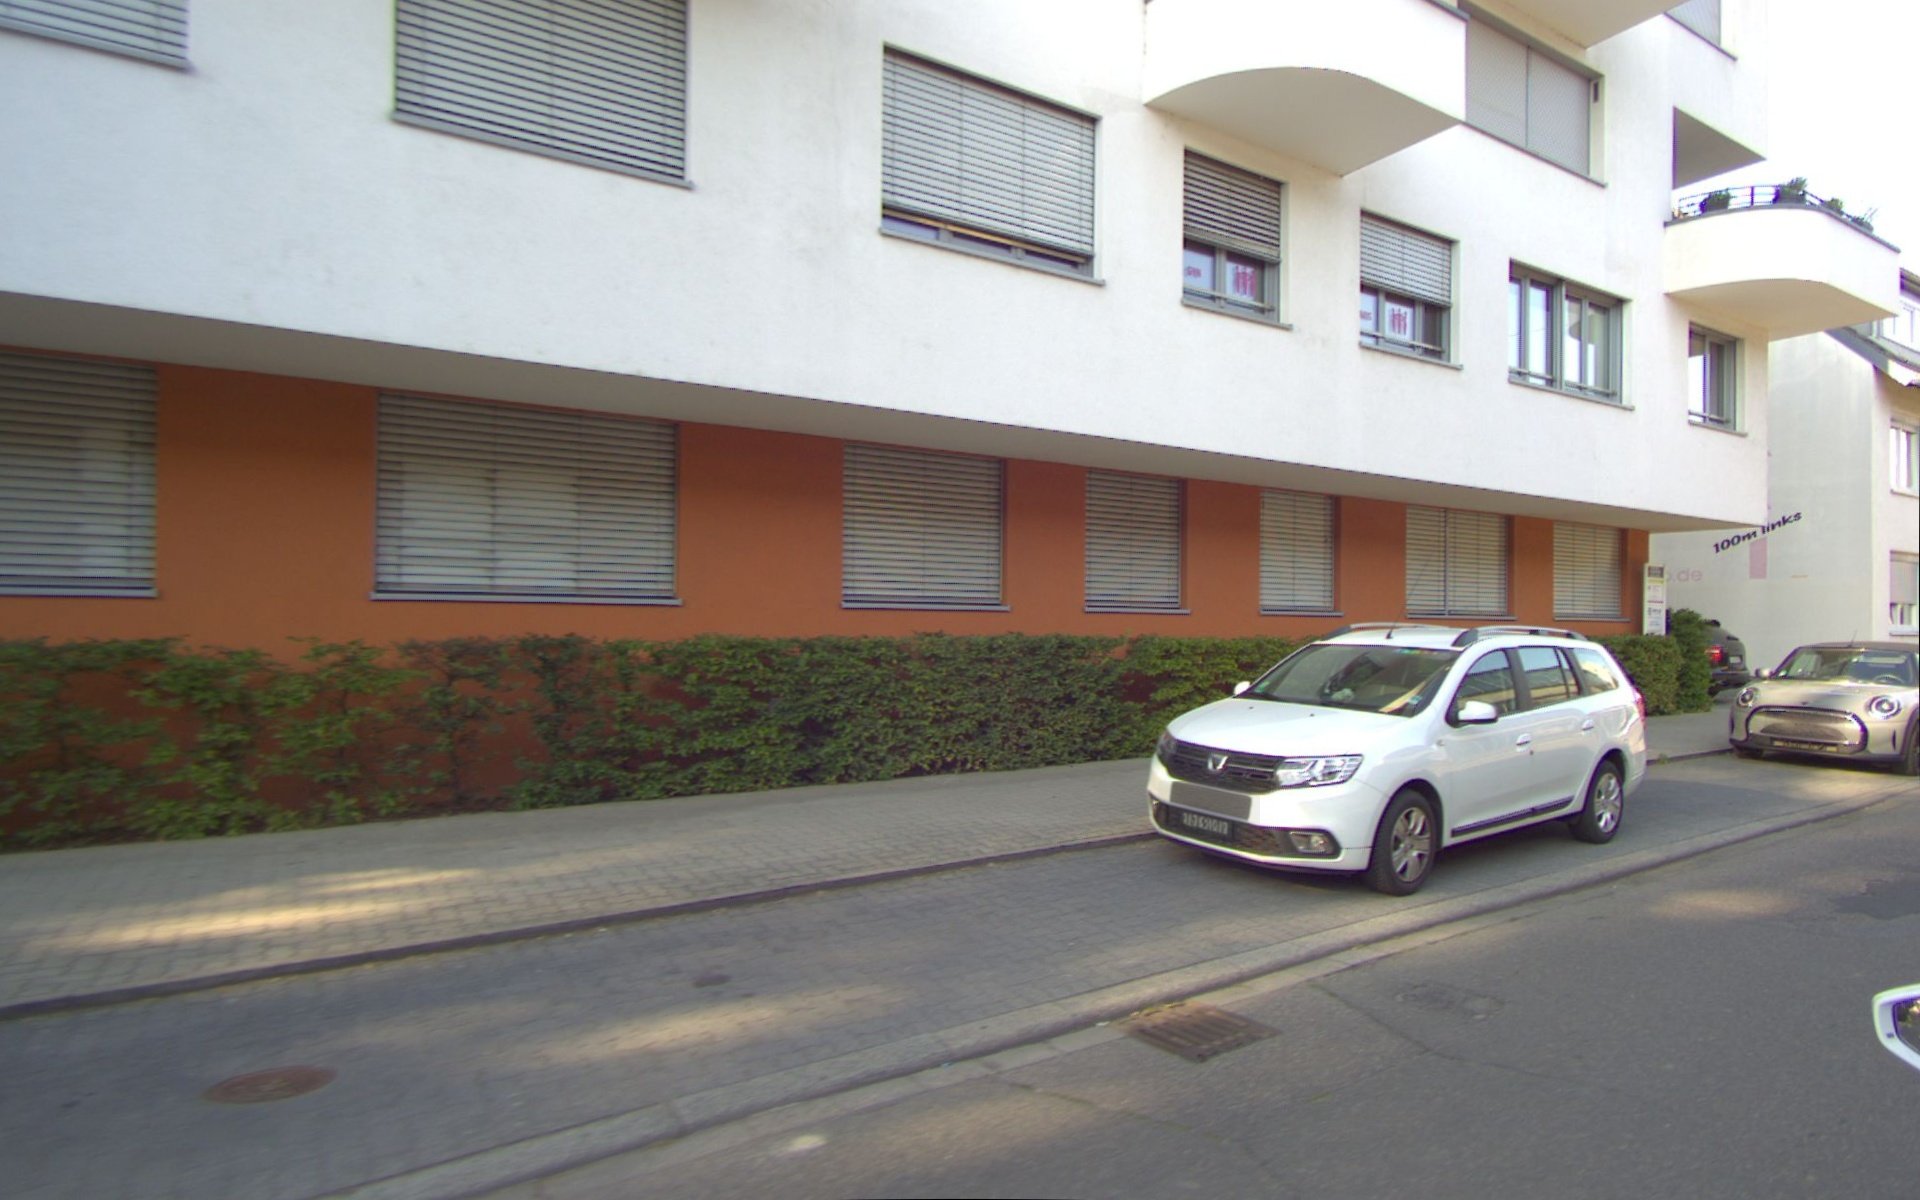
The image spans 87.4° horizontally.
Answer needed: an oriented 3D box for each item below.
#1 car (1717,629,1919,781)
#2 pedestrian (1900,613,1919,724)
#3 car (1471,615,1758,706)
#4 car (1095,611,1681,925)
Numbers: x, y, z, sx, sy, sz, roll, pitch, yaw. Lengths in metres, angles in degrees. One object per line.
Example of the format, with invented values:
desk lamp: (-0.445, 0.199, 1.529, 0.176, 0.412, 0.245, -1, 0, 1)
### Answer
car: (11.067, 1.168, 12.337, 3.817, 1.556, 1.657, 2, -1, -34)
pedestrian: (16.656, 1.171, 16.756, 1.111, 1.843, 0.862, 1, 2, -9)
car: (13.441, 1.222, 20.926, 1.993, 1.659, 4.580, 0, -3, -33)
car: (3.296, 0.935, 7.322, 4.577, 1.608, 1.845, 2, -1, -36)
